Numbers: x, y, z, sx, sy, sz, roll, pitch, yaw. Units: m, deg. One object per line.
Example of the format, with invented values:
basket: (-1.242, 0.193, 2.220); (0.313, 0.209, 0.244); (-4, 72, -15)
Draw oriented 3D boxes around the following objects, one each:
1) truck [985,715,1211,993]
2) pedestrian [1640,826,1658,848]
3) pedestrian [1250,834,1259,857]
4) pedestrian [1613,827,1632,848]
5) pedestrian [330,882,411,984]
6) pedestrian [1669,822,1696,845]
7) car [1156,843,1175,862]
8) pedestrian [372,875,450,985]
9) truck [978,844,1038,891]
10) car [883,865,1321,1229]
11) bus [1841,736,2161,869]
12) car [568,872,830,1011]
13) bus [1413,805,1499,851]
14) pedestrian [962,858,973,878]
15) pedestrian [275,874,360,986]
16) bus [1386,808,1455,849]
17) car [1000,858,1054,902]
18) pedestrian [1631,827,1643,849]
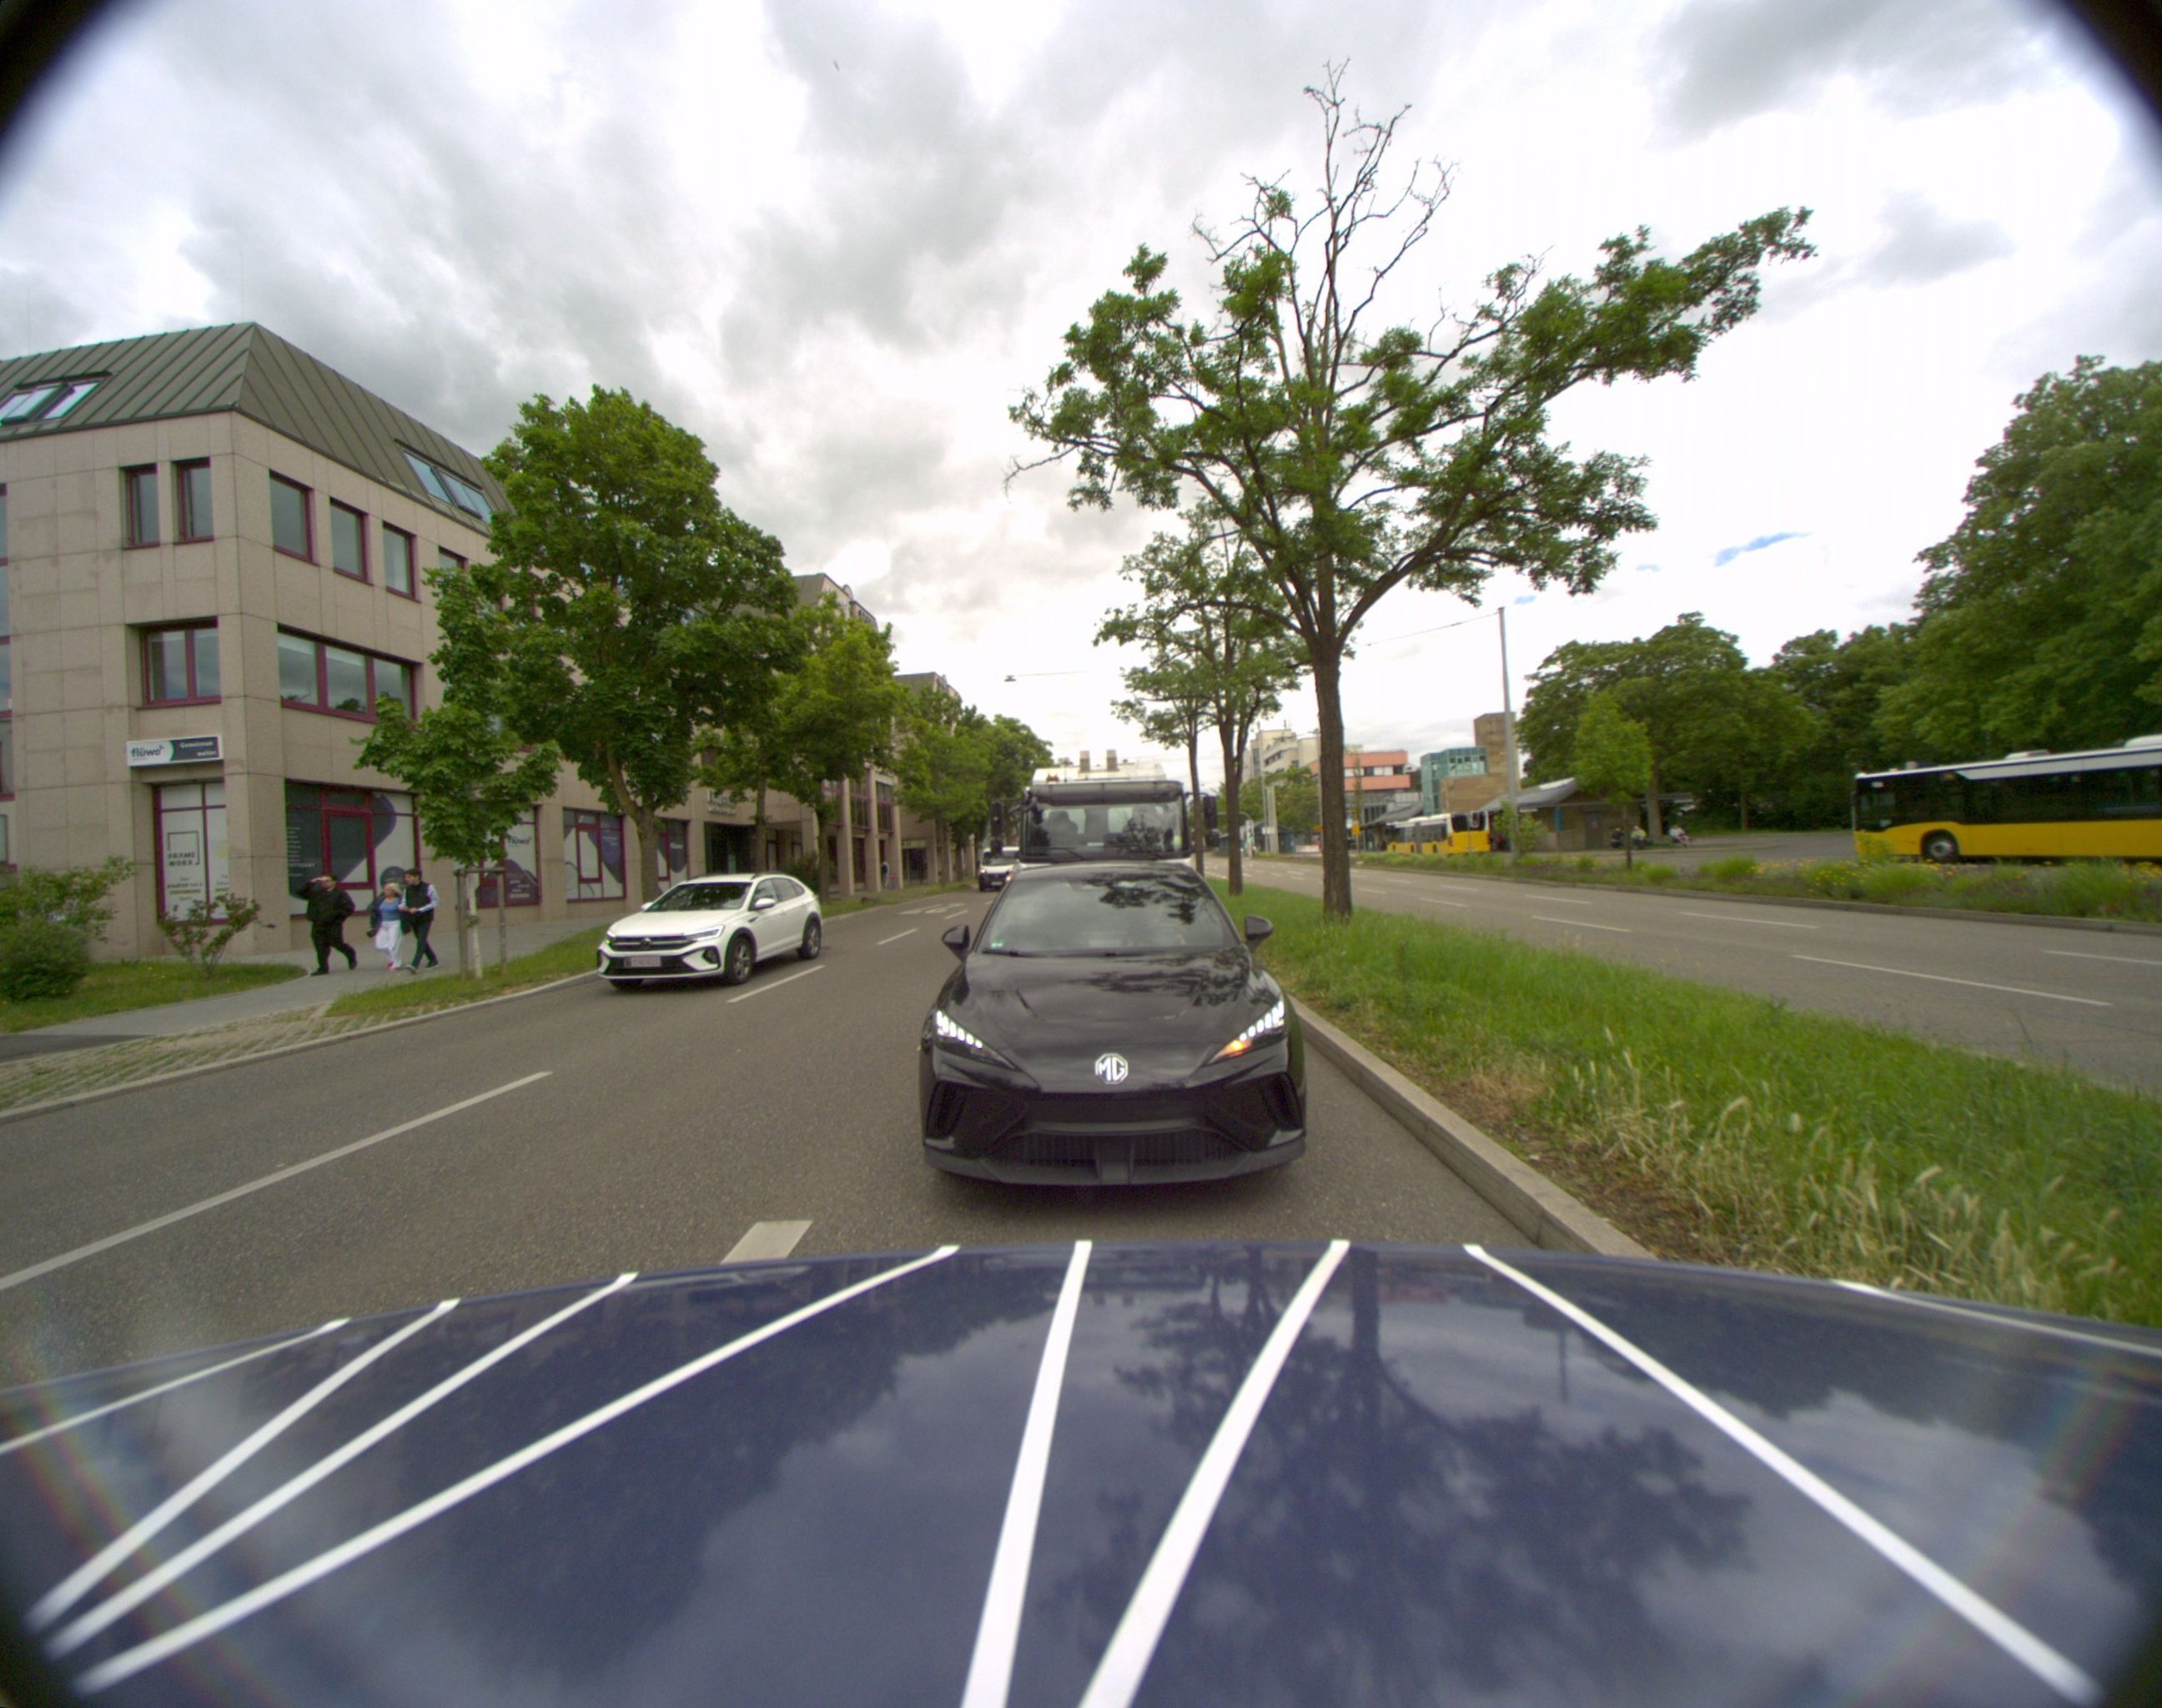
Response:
truck: (0.313, -0.002, 12.683); (2.544, 3.187, 7.369); (-3, 0, 2)
pedestrian: (30.626, -0.905, 40.972); (0.598, 1.155, 0.744); (-2, 1, 26)
pedestrian: (21.205, -1.019, 92.867); (0.903, 2.772, 1.148); (-2, 1, 13)
pedestrian: (30.798, -0.936, 43.204); (0.599, 1.155, 0.743); (-2, 1, 13)
pedestrian: (-12.111, 1.328, 12.975); (0.642, 1.637, 0.677); (-3, 1, 1)
pedestrian: (31.949, -1.084, 40.364); (0.650, 1.165, 0.925); (-2, 1, 1)
car: (9.434, -0.158, 84.913); (1.726, 2.002, 4.001); (-3, 0, 3)
pedestrian: (-11.525, 1.284, 13.089); (0.642, 1.795, 0.677); (-3, 1, 1)
truck: (-3.671, 0.612, 39.471); (2.216, 2.191, 5.844); (-3, 1, 3)
car: (0.119, 0.866, 5.285); (1.827, 1.430, 4.000); (-3, 0, 1)
bus: (25.923, -1.238, 19.623); (2.888, 2.985, 10.397); (-3, 0, 6)
car: (-5.391, 1.136, 11.425); (1.720, 1.546, 4.090); (-2, 0, 2)
bus: (26.125, -1.709, 53.428); (2.887, 2.793, 9.182); (-3, 0, 10)
pedestrian: (-9.909, 1.203, 66.326); (0.719, 1.737, 0.832); (-2, 1, 1)
pedestrian: (-12.906, 1.267, 12.867); (0.642, 1.795, 0.677); (-3, 1, 1)
bus: (27.584, -1.952, 62.165); (2.887, 2.985, 9.182); (-3, 0, 10)
car: (-2.053, 0.966, 29.695); (1.720, 1.549, 3.858); (-1, 0, 1)
pedestrian: (30.206, -0.892, 41.306); (0.367, 1.160, 0.899); (-2, 1, 26)
